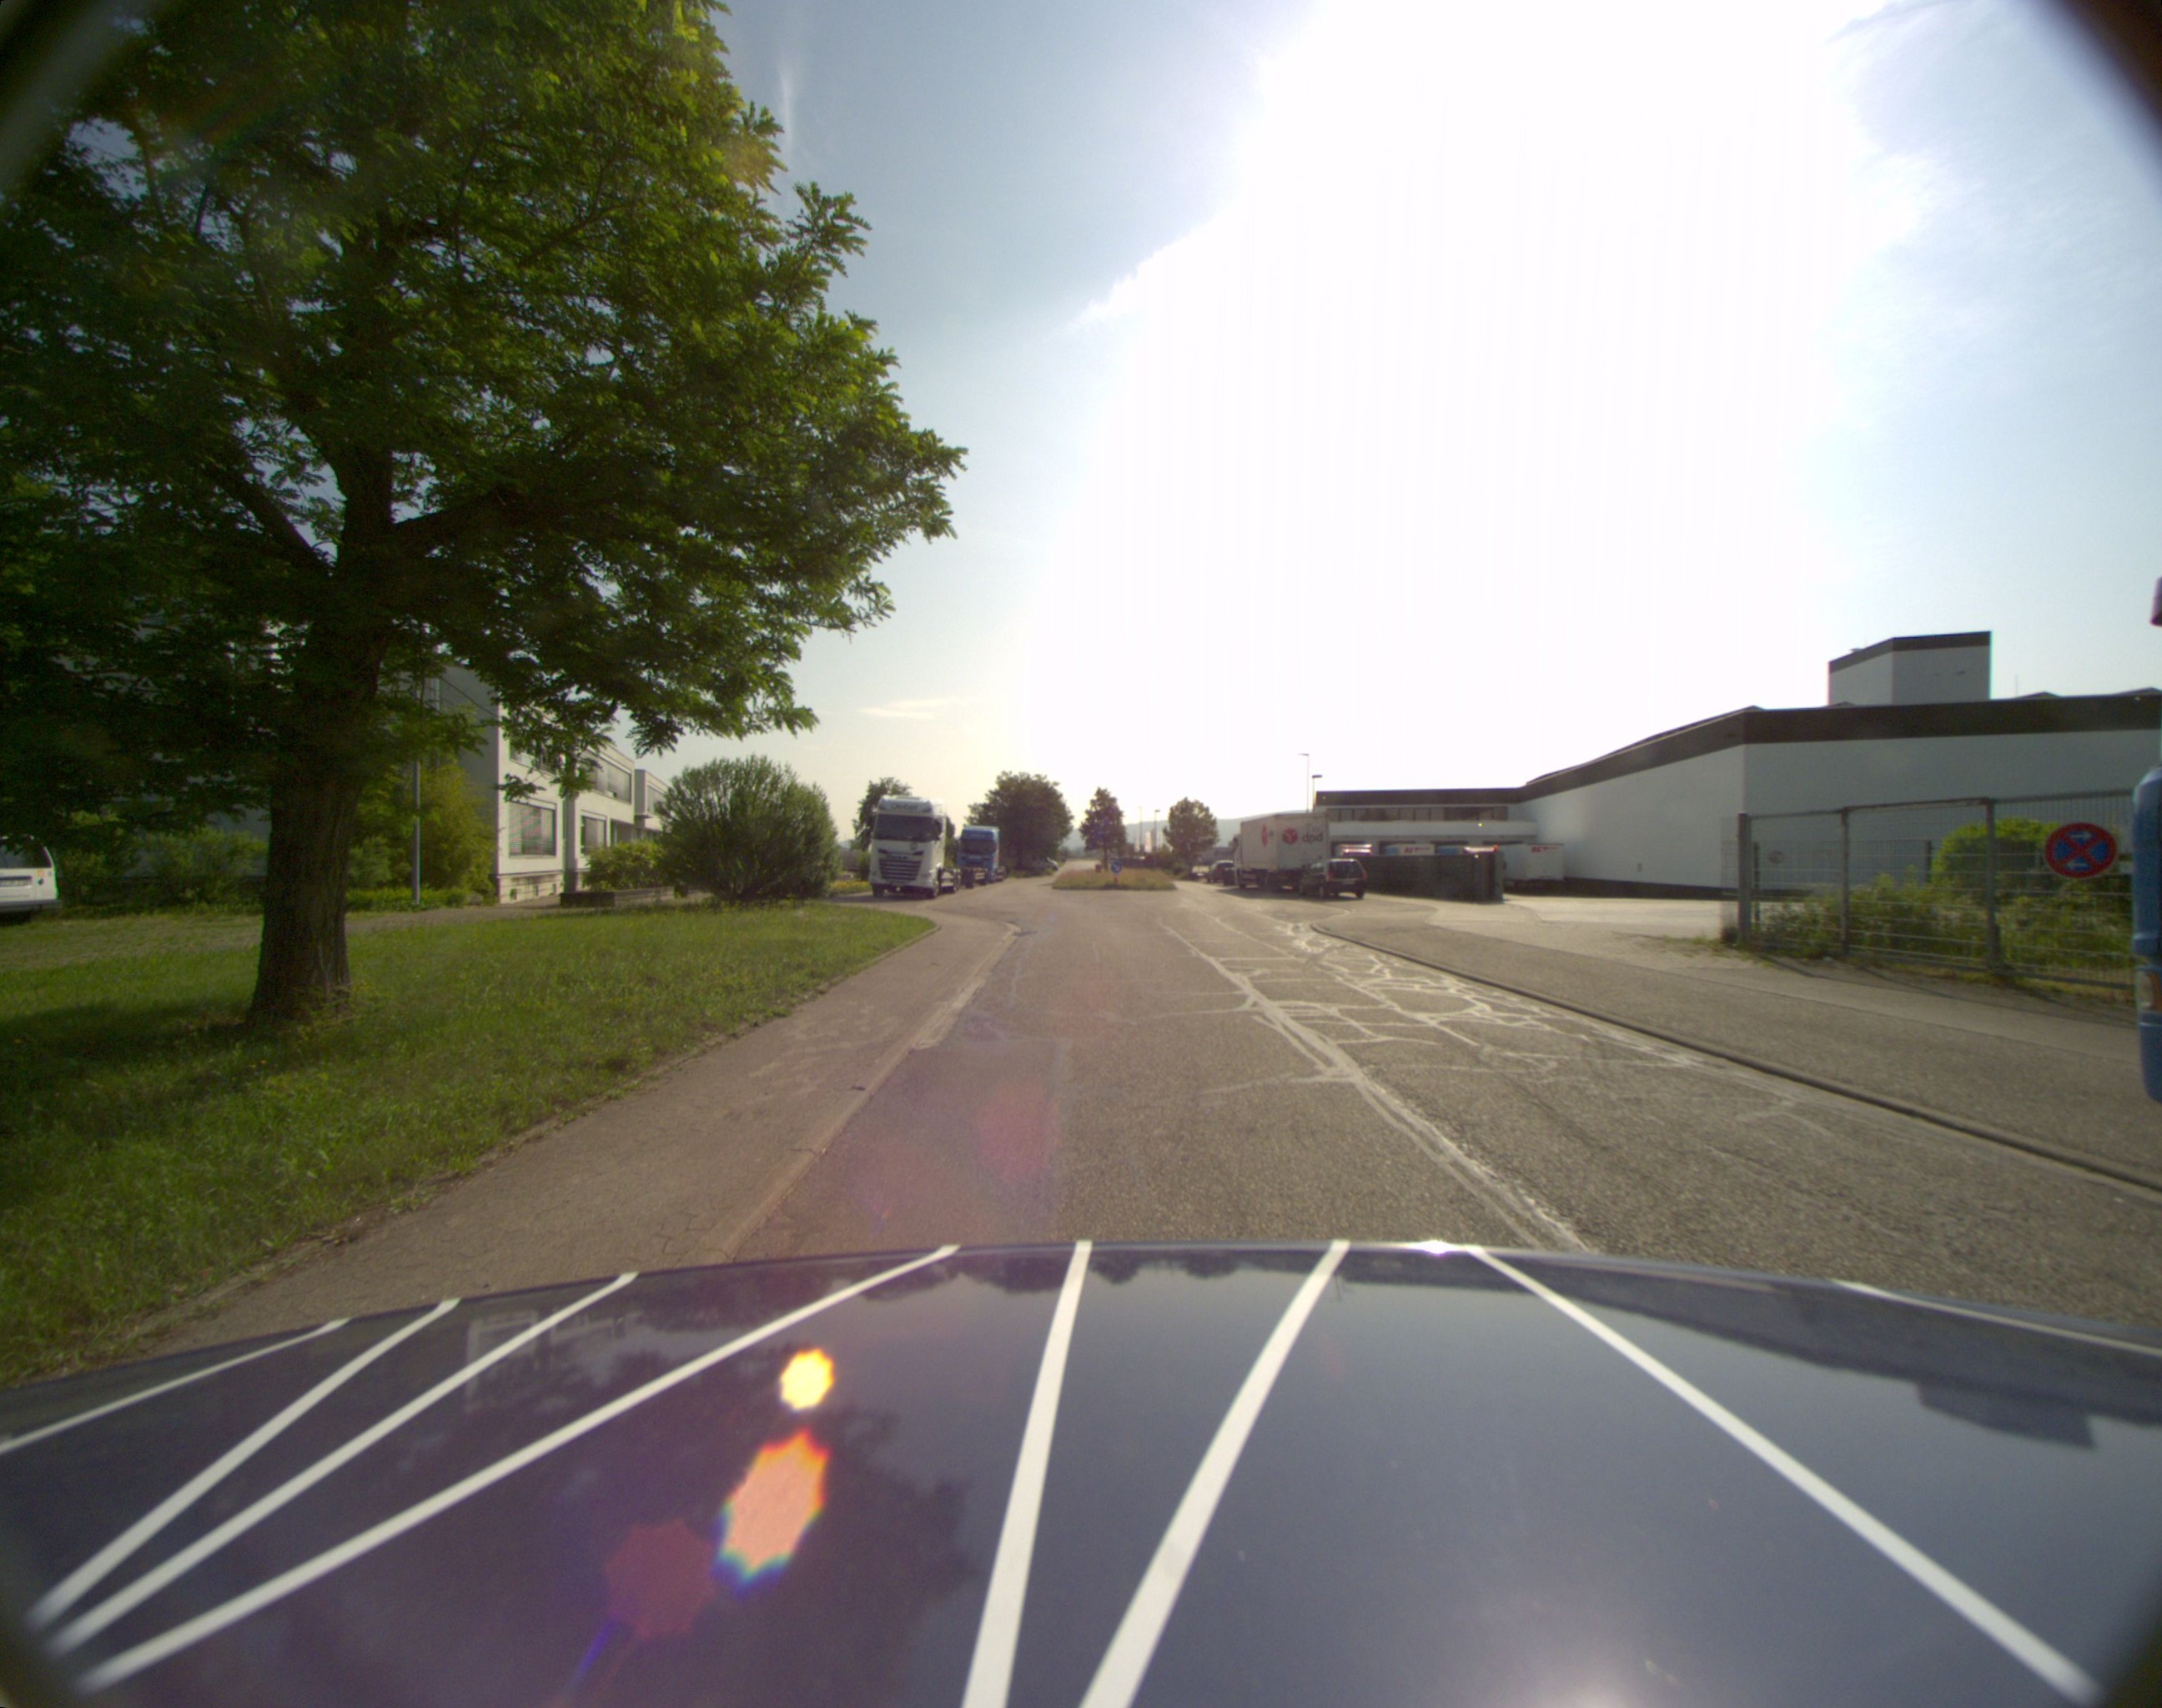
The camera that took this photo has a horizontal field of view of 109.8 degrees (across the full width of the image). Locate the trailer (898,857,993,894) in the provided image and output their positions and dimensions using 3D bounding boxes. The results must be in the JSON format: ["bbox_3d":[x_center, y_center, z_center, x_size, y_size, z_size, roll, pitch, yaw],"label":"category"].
[{"bbox_3d":[-6.745,0.975,40.338,2.553,1.383,14.134,2,0,0],"label":"trailer"}]

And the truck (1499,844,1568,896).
[{"bbox_3d":[37.511,1.221,63.392,2.903,4.032,9.252,1,0,18],"label":"truck"}]

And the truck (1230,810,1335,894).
[{"bbox_3d":[10.513,-0.118,40.920,2.784,3.831,10.061,-3,0,0],"label":"truck"}]

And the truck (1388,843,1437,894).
[{"bbox_3d":[28.659,1.141,66.045,3.035,4.112,9.252,1,0,18],"label":"truck"}]

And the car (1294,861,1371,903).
[{"bbox_3d":[10.595,1.132,32.364,1.767,1.583,4.192,-2,0,-1],"label":"car"}]

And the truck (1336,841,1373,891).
[{"bbox_3d":[23.346,0.985,65.089,2.653,3.955,9.252,1,0,18],"label":"truck"}]

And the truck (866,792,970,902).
[{"bbox_3d":[-6.670,-0.280,32.479,2.559,3.958,8.580,2,0,0],"label":"truck"}]

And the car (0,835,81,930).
[{"bbox_3d":[-21.738,0.521,13.847,3.917,1.740,1.750,0,0,-19],"label":"car"}]

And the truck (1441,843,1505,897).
[{"bbox_3d":[32.452,1.221,63.429,2.784,4.021,12.371,1,0,18],"label":"truck"}]

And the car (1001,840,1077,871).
[{"bbox_3d":[-4.668,0.140,83.707,8.152,3.217,2.663,-1,1,-5],"label":"car"}]

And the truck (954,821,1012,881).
[{"bbox_3d":[-6.840,-0.190,54.640,3.044,3.916,10.576,0,0,-1],"label":"truck"}]

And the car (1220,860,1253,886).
[{"bbox_3d":[10.135,1.190,49.741,1.442,1.598,3.167,1,0,0],"label":"car"}]

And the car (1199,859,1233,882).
[{"bbox_3d":[9.903,1.184,56.123,1.735,1.573,3.966,-2,0,0],"label":"car"}]
